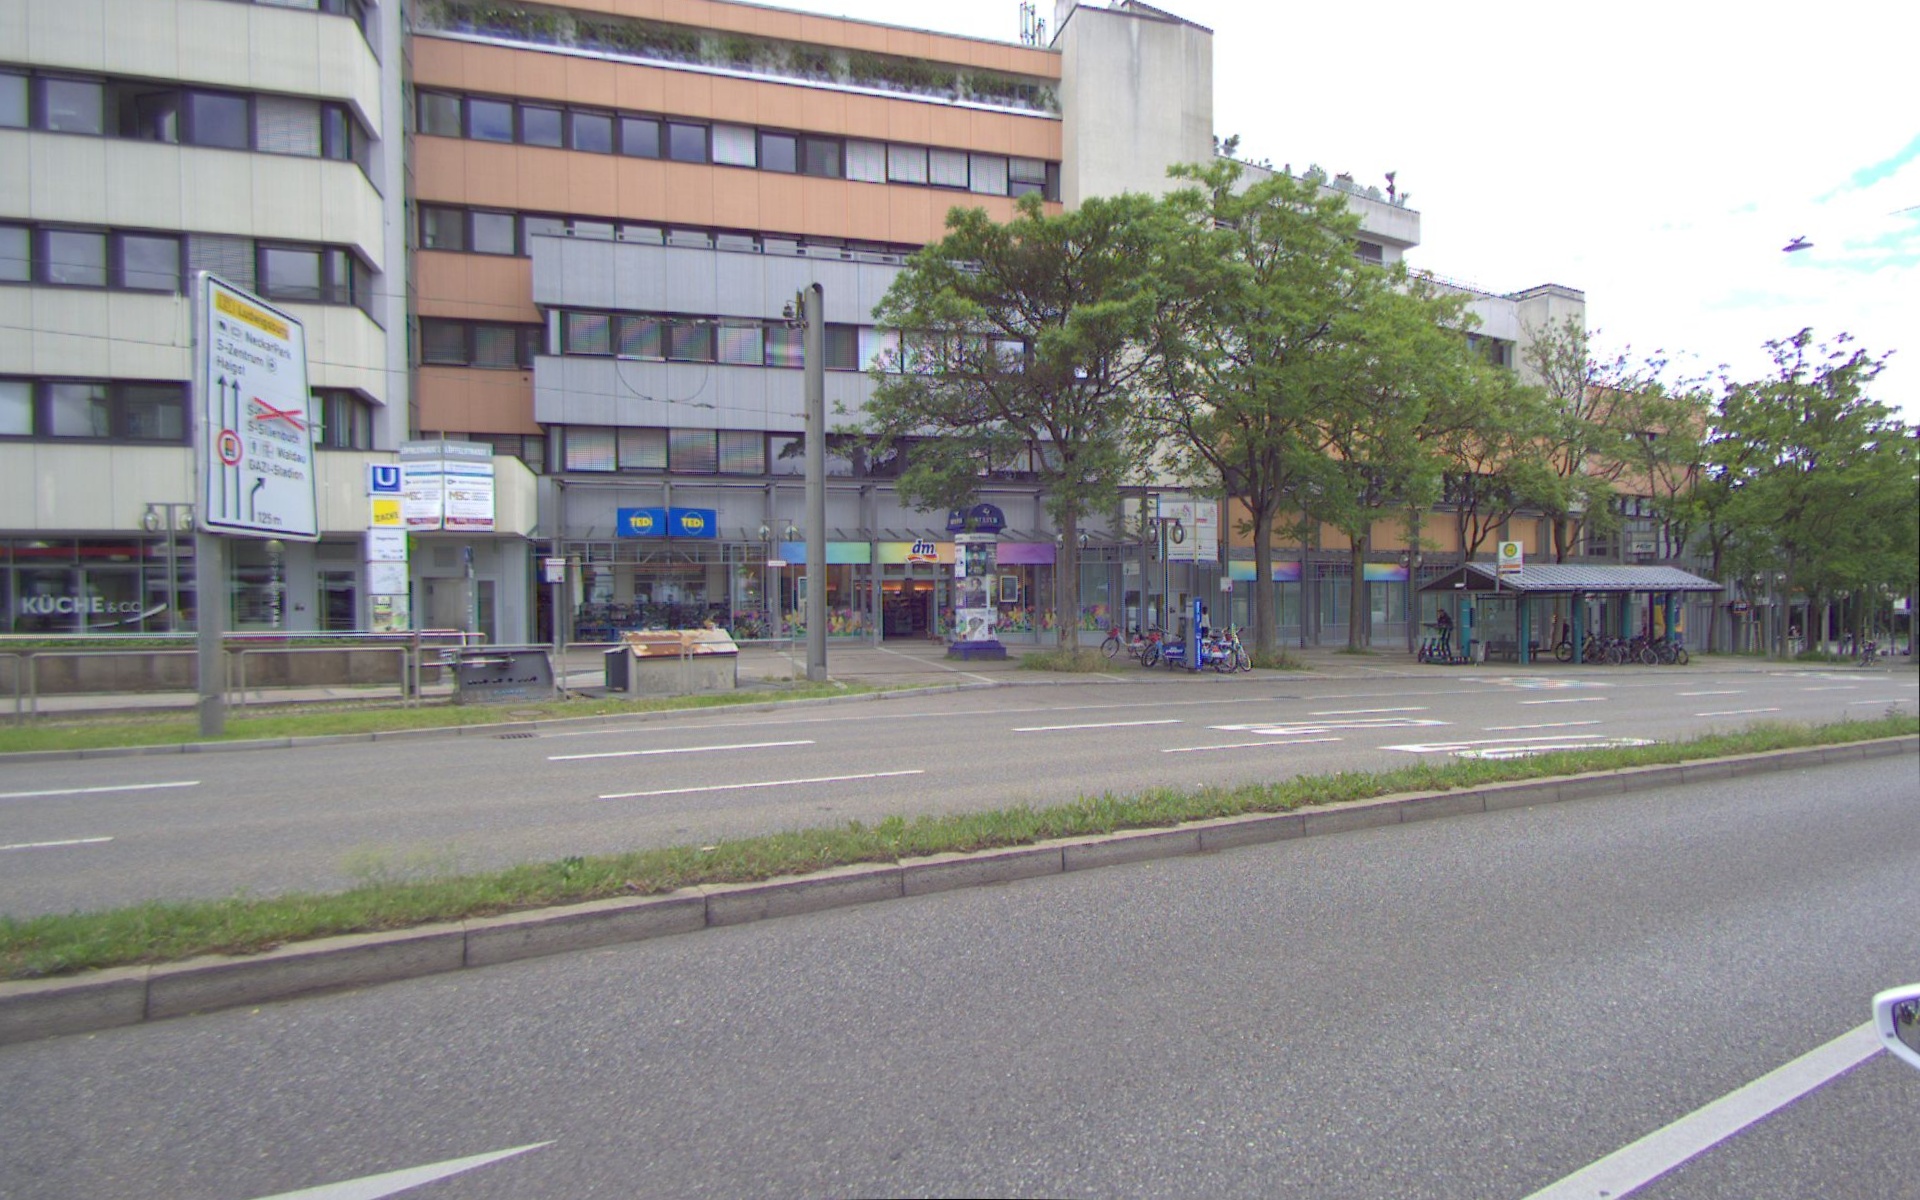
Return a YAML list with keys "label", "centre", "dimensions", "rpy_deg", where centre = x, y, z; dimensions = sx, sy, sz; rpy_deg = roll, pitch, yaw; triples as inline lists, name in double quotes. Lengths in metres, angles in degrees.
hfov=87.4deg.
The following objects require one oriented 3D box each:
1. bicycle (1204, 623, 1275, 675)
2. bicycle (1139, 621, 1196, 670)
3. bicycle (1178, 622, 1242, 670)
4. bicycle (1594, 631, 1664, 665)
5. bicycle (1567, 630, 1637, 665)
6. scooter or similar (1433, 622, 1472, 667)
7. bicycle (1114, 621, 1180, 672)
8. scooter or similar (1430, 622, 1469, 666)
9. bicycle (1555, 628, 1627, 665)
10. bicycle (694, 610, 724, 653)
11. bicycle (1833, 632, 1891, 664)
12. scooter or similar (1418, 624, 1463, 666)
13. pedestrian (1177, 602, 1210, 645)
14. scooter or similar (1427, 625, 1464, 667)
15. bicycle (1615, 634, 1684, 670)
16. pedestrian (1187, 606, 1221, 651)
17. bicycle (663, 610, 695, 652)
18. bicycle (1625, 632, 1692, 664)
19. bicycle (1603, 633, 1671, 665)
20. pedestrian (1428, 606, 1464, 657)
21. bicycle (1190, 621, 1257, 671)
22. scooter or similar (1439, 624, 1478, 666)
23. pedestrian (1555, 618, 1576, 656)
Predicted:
- label: "bicycle"
  centre: [7.064, 1.218, 25.427]
  dimensions: [1.649, 1.270, 0.627]
  rpy_deg: [0, -1, 9]
- label: "bicycle"
  centre: [5.457, 1.191, 26.442]
  dimensions: [1.441, 1.270, 0.432]
  rpy_deg: [0, -1, 12]
- label: "bicycle"
  centre: [6.818, 1.243, 27.416]
  dimensions: [1.649, 1.270, 0.627]
  rpy_deg: [0, -1, 9]
- label: "bicycle"
  centre: [24.898, 1.774, 37.402]
  dimensions: [0.705, 1.169, 2.048]
  rpy_deg: [1, 0, -38]
- label: "bicycle"
  centre: [23.823, 1.745, 37.302]
  dimensions: [0.705, 1.169, 2.048]
  rpy_deg: [1, 1, -38]
- label: "scooter or similar"
  centre: [16.061, 1.440, 32.753]
  dimensions: [0.256, 1.442, 1.196]
  rpy_deg: [1, -1, -30]
- label: "bicycle"
  centre: [4.804, 1.192, 25.809]
  dimensions: [1.649, 1.270, 0.627]
  rpy_deg: [0, -1, 10]
- label: "scooter or similar"
  centre: [15.860, 1.423, 32.568]
  dimensions: [0.219, 1.403, 1.196]
  rpy_deg: [1, -1, -30]
- label: "bicycle"
  centre: [22.943, 1.673, 36.562]
  dimensions: [0.705, 1.169, 2.048]
  rpy_deg: [1, 2, -38]
- label: "bicycle"
  centre: [-8.077, 0.992, 32.410]
  dimensions: [0.692, 1.337, 1.972]
  rpy_deg: [1, -1, -7]
- label: "bicycle"
  centre: [38.058, 2.014, 42.376]
  dimensions: [2.394, 1.288, 1.047]
  rpy_deg: [1, 1, -28]
- label: "scooter or similar"
  centre: [15.371, 1.430, 32.160]
  dimensions: [0.335, 1.286, 1.315]
  rpy_deg: [1, 1, -30]
- label: "pedestrian"
  centre: [8.924, 0.908, 38.439]
  dimensions: [0.984, 1.639, 0.730]
  rpy_deg: [1, -1, -28]
- label: "scooter or similar"
  centre: [15.649, 1.478, 32.390]
  dimensions: [0.265, 1.312, 1.121]
  rpy_deg: [1, -1, -31]
- label: "bicycle"
  centre: [26.730, 2.000, 38.952]
  dimensions: [0.705, 1.169, 2.048]
  rpy_deg: [1, 2, -38]
- label: "pedestrian"
  centre: [9.134, 1.066, 37.605]
  dimensions: [0.984, 1.639, 0.730]
  rpy_deg: [1, -1, -28]
- label: "bicycle"
  centre: [-9.064, 0.987, 32.455]
  dimensions: [0.692, 1.337, 1.972]
  rpy_deg: [1, -1, -7]
- label: "bicycle"
  centre: [27.531, 1.869, 39.622]
  dimensions: [0.705, 1.169, 2.048]
  rpy_deg: [1, 0, -38]
- label: "bicycle"
  centre: [25.898, 1.864, 38.429]
  dimensions: [0.705, 1.169, 2.049]
  rpy_deg: [1, -1, -38]
- label: "pedestrian"
  centre: [17.675, 1.146, 36.542]
  dimensions: [0.984, 1.805, 0.730]
  rpy_deg: [1, -1, -28]
- label: "bicycle"
  centre: [6.907, 1.210, 26.396]
  dimensions: [1.649, 1.270, 0.627]
  rpy_deg: [0, -1, 9]
- label: "scooter or similar"
  centre: [16.314, 1.460, 32.903]
  dimensions: [0.256, 1.338, 1.196]
  rpy_deg: [1, -1, -30]
- label: "pedestrian"
  centre: [26.990, 1.642, 44.793]
  dimensions: [0.665, 1.665, 0.531]
  rpy_deg: [1, -1, -23]
